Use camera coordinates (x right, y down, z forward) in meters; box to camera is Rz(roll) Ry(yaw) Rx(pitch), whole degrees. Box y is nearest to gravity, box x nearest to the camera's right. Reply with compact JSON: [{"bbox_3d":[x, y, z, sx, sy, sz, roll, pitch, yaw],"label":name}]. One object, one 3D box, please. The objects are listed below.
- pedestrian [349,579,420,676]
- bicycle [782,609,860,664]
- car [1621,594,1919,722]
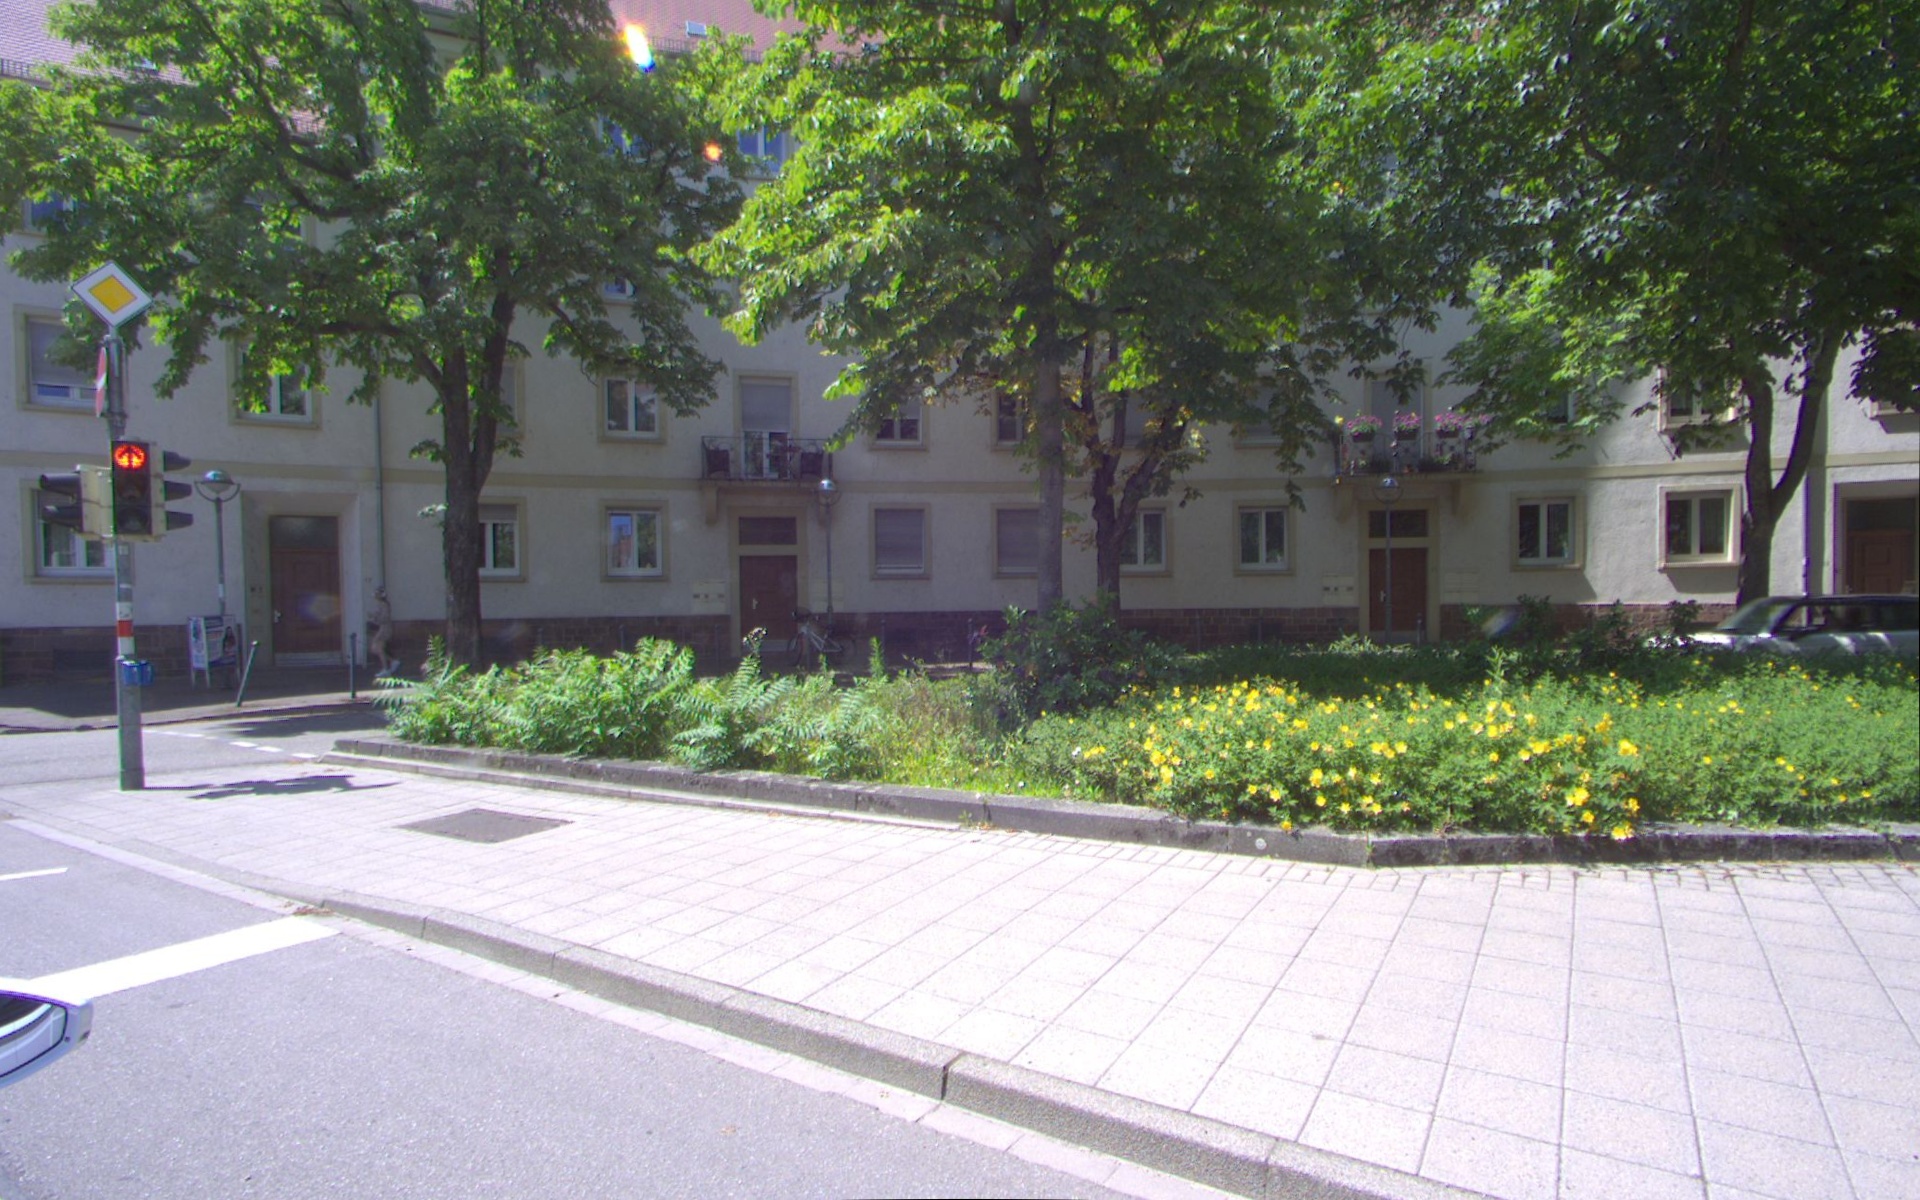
[{"bbox_3d":[-10.999,0.509,19.174,1.041,1.715,0.649,-4,7,-28],"label":"pedestrian"},{"bbox_3d":[-2.882,0.757,20.867,1.575,1.119,0.525,-1,1,-4],"label":"bicycle"},{"bbox_3d":[10.976,0.696,13.020,3.585,1.526,1.703,0,0,15],"label":"car"}]
